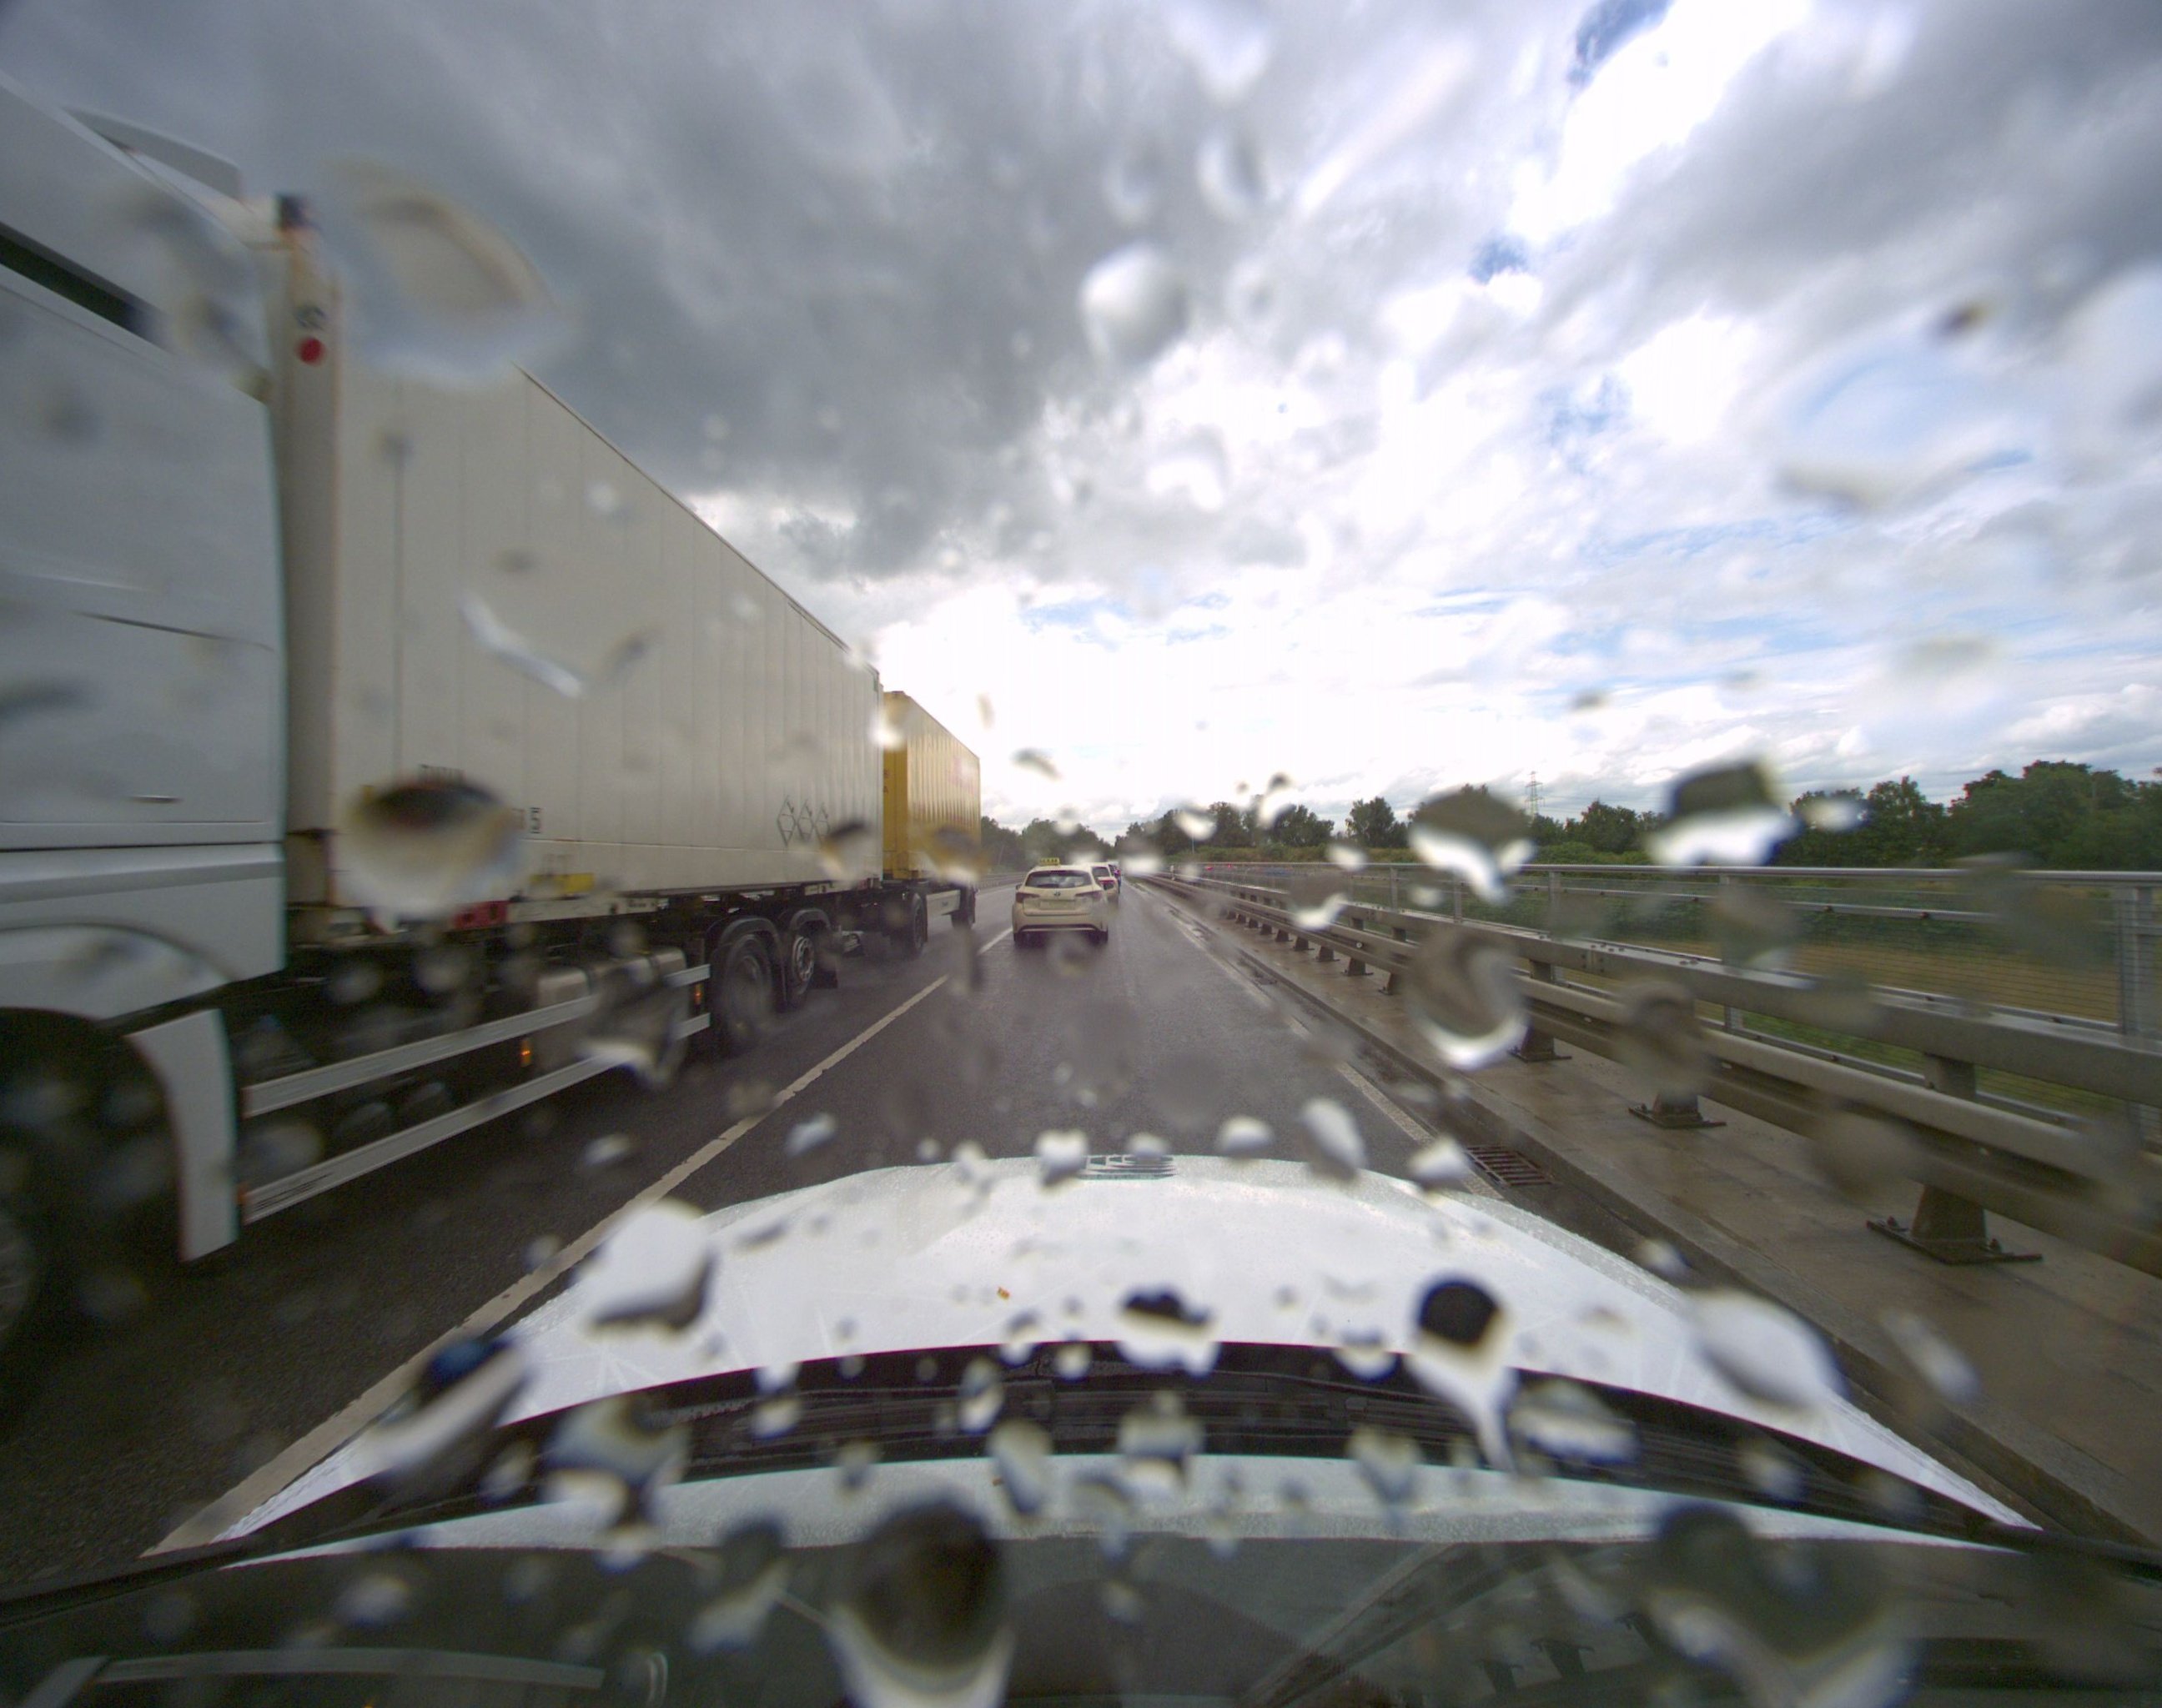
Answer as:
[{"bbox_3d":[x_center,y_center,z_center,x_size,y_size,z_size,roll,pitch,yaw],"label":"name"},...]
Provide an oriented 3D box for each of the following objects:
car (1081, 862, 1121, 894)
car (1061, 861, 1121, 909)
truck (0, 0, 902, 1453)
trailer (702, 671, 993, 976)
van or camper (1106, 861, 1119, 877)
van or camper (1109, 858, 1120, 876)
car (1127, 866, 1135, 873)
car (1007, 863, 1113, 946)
[{"bbox_3d":[0.984,1.134,40.062,1.847,1.443,4.172,0,0,2],"label":"car"},{"bbox_3d":[0.370,0.988,27.512,1.847,1.443,4.172,0,0,2],"label":"car"},{"bbox_3d":[-3.925,-0.468,5.853,2.672,4.017,10.059,-1,0,2],"label":"truck"},{"bbox_3d":[-3.613,-0.390,15.221,2.672,4.075,8.489,-1,0,2],"label":"trailer"},{"bbox_3d":[5.579,2.653,144.798,2.324,2.864,6.308,0,-1,2],"label":"van or camper"},{"bbox_3d":[6.957,2.654,169.650,2.324,3.563,6.308,0,-1,2],"label":"van or camper"},{"bbox_3d":[14.059,4.309,230.232,1.986,2.014,4.000,0,-1,1],"label":"car"},{"bbox_3d":[-0.302,0.900,16.241,1.847,1.394,4.172,0,0,2],"label":"car"}]
